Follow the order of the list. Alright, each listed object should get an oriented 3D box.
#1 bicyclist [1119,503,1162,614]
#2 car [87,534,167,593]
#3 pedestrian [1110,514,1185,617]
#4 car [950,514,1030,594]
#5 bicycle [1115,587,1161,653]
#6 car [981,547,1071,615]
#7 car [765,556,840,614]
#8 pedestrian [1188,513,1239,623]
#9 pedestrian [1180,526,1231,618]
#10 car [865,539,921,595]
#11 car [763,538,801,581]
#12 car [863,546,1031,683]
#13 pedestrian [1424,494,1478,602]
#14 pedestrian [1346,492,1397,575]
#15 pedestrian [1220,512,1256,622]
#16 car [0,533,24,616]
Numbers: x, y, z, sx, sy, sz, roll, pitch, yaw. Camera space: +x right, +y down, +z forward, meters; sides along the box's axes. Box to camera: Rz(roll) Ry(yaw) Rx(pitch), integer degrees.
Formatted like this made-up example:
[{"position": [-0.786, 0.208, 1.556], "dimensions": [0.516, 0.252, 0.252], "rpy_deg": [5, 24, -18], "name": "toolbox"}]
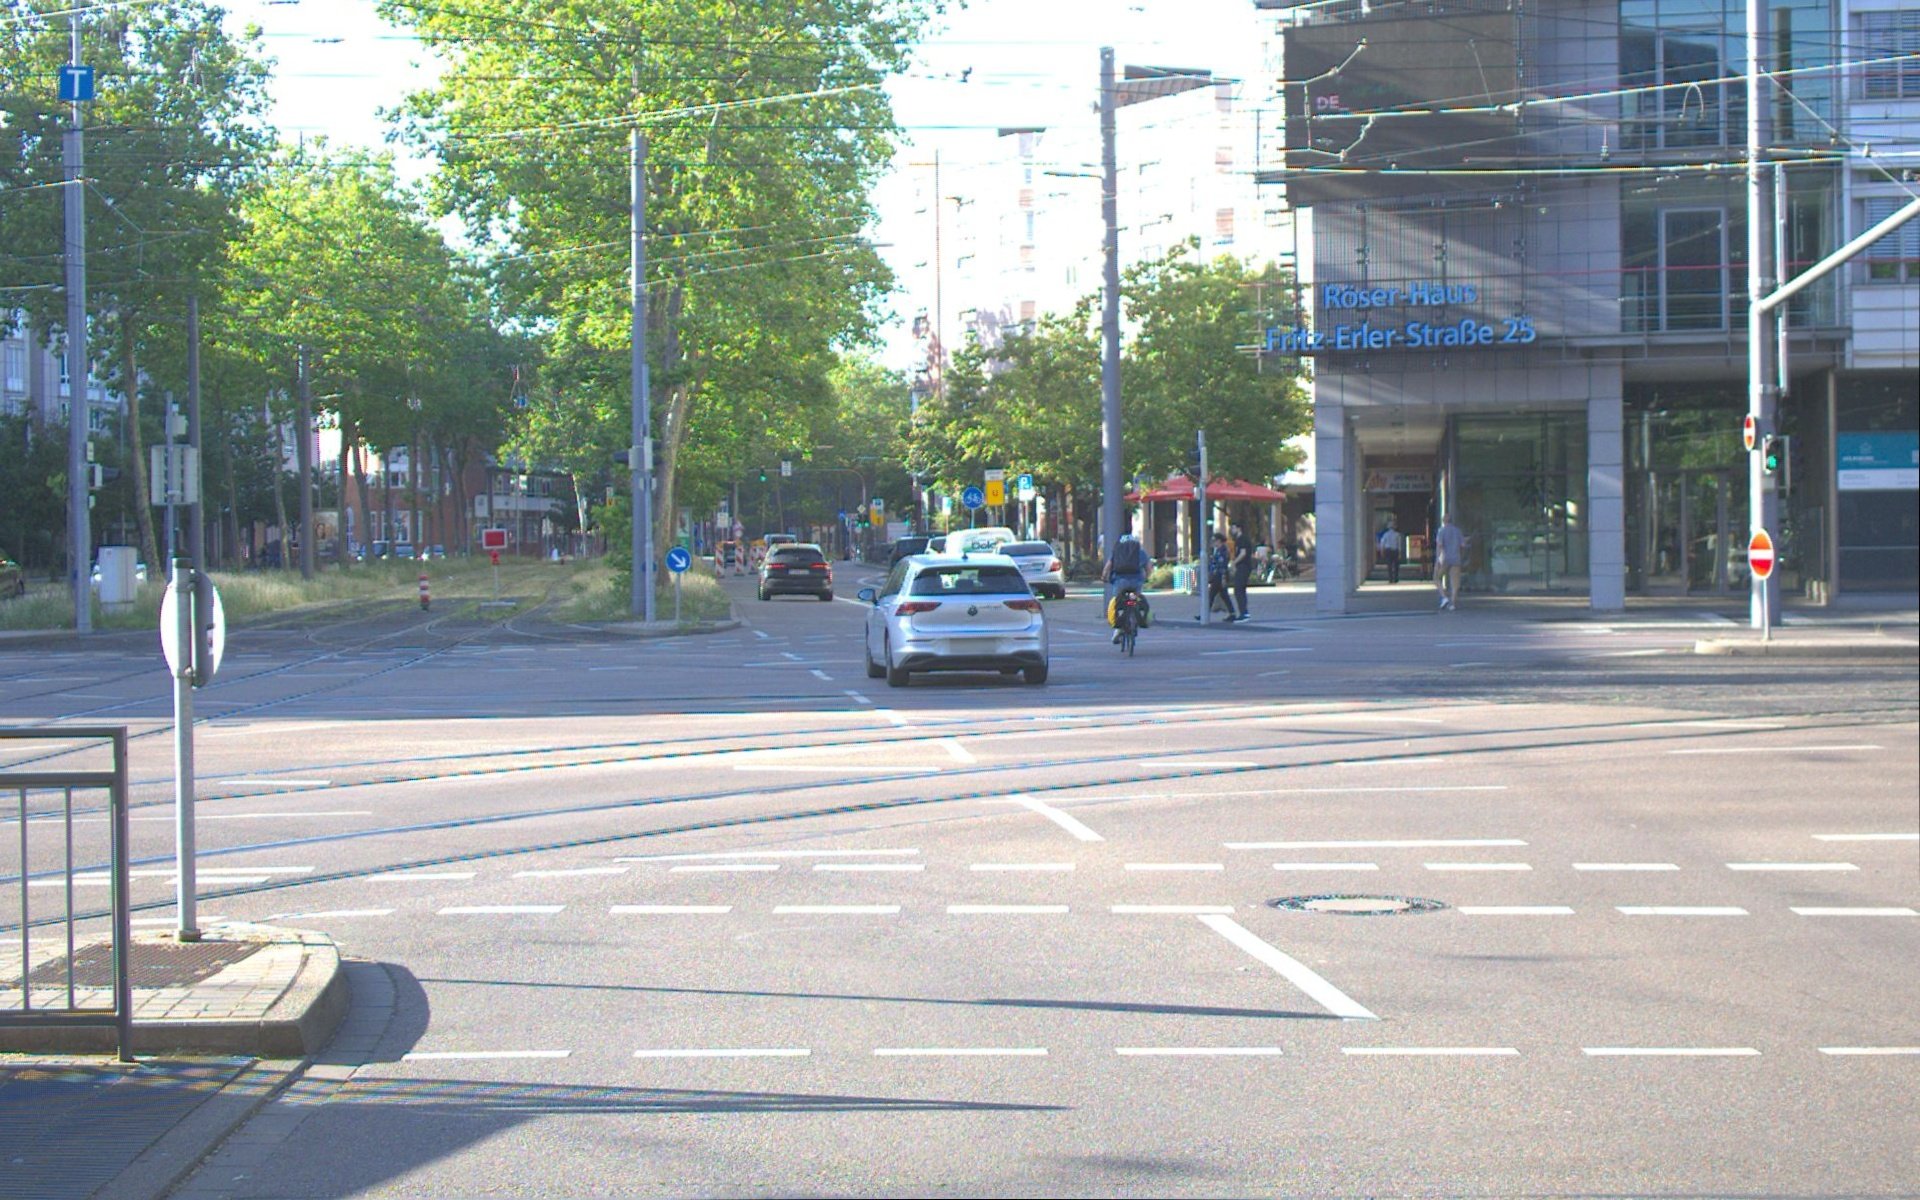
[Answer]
[{"position": [2.381, -0.554, 45.304], "dimensions": [0.486, 1.434, 0.615], "rpy_deg": [1, 2, -1], "name": "bicyclist"}, {"position": [-23.430, -1.023, 96.838], "dimensions": [1.676, 1.601, 4.001], "rpy_deg": [1, 1, -6], "name": "car"}, {"position": [3.580, -0.656, 65.741], "dimensions": [1.342, 1.944, 1.011], "rpy_deg": [-1, 0, -1], "name": "pedestrian"}, {"position": [0.765, -1.201, 89.786], "dimensions": [1.993, 2.007, 4.000], "rpy_deg": [1, 1, -1], "name": "car"}, {"position": [2.351, 0.257, 45.512], "dimensions": [0.490, 0.785, 1.862], "rpy_deg": [0, 3, -1], "name": "bicycle"}, {"position": [1.567, -0.466, 82.794], "dimensions": [2.029, 1.590, 4.000], "rpy_deg": [1, 1, -1], "name": "car"}, {"position": [-3.983, -0.393, 86.360], "dimensions": [1.763, 1.399, 4.297], "rpy_deg": [0, 1, -4], "name": "car"}, {"position": [4.695, -0.589, 63.618], "dimensions": [0.849, 2.007, 0.708], "rpy_deg": [1, 0, -1], "name": "pedestrian"}, {"position": [4.599, -0.534, 64.500], "dimensions": [0.869, 1.702, 0.794], "rpy_deg": [1, 0, -1], "name": "pedestrian"}, {"position": [-2.459, -1.215, 126.687], "dimensions": [1.993, 2.007, 4.000], "rpy_deg": [1, 1, -1], "name": "car"}, {"position": [-10.565, -2.403, 203.962], "dimensions": [1.993, 2.007, 3.998], "rpy_deg": [1, -7, 1], "name": "car"}, {"position": [-0.097, 0.121, 38.270], "dimensions": [1.748, 1.413, 4.000], "rpy_deg": [0, 1, 1], "name": "car"}, {"position": [9.277, -0.972, 64.975], "dimensions": [0.869, 2.007, 0.794], "rpy_deg": [1, -1, -1], "name": "pedestrian"}, {"position": [11.015, -1.779, 92.012], "dimensions": [1.313, 2.182, 1.170], "rpy_deg": [1, 0, 6], "name": "pedestrian"}, {"position": [5.085, -0.603, 62.897], "dimensions": [0.586, 2.007, 0.620], "rpy_deg": [1, 0, 0], "name": "pedestrian"}, {"position": [-21.695, -0.551, 75.050], "dimensions": [1.822, 1.784, 4.001], "rpy_deg": [-1, 1, -7], "name": "car"}]
